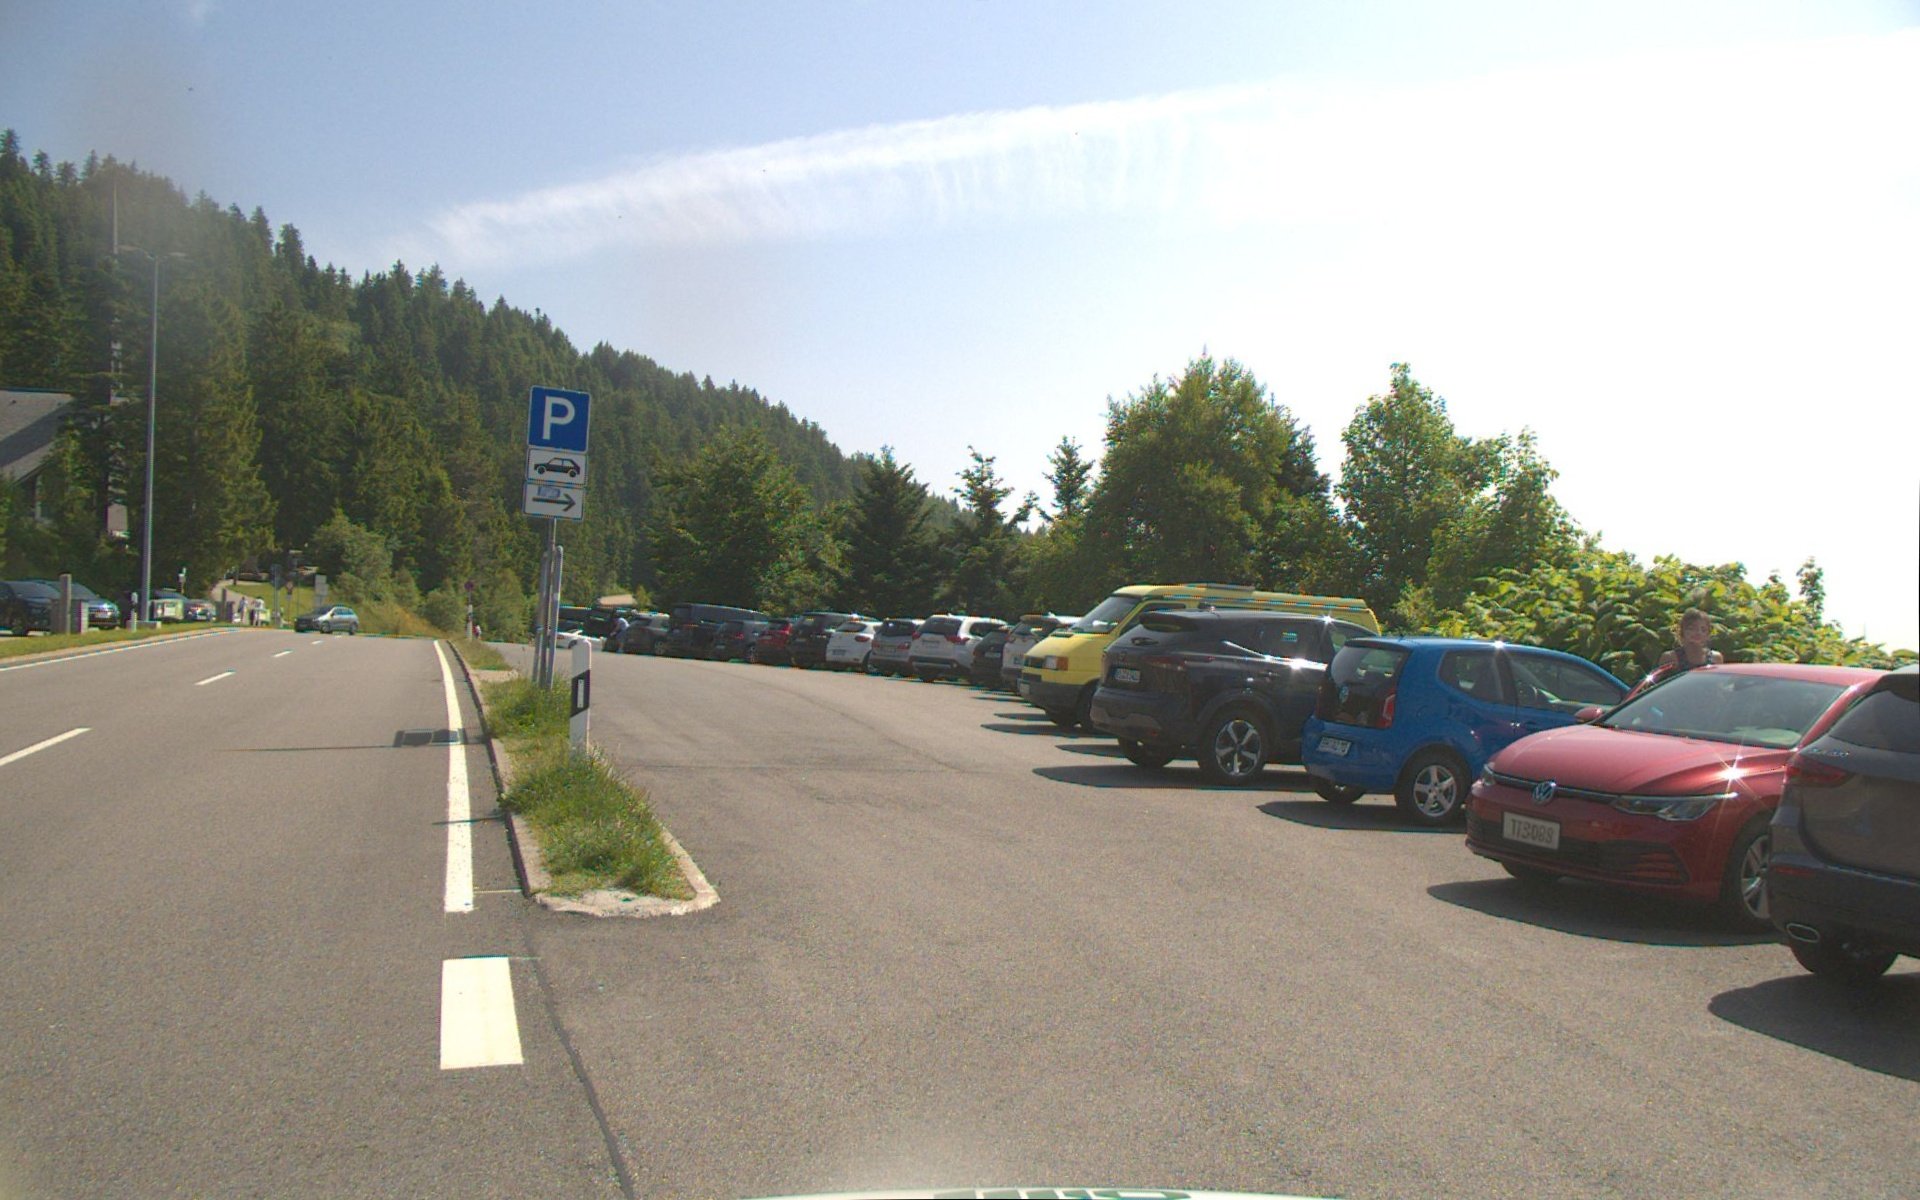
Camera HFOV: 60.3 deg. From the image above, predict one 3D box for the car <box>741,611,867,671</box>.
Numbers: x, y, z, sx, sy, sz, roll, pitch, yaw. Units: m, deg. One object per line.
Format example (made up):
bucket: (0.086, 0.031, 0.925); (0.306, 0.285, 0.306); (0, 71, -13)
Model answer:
car: (-5.002, 1.339, 53.363); (1.826, 1.617, 3.986); (3, -3, 35)

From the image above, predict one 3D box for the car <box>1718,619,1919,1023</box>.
car: (5.818, 1.064, 7.709); (4.347, 1.595, 1.890); (5, -1, -29)

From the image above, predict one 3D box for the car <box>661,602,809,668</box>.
car: (-7.884, 1.231, 58.120); (4.721, 1.912, 1.941); (6, -3, -37)

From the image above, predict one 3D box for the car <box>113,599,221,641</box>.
car: (-33.968, 0.869, 70.852); (4.111, 1.663, 1.789); (1, -2, 22)

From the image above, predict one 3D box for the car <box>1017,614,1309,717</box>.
car: (3.239, 1.040, 26.442); (4.287, 1.513, 1.801); (1, 0, -21)

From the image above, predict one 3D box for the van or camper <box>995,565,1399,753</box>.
van or camper: (3.197, 0.796, 22.525); (5.006, 2.048, 1.875); (5, -1, -15)

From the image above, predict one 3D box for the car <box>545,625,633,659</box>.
car: (-20.467, 2.327, 91.269); (4.415, 1.321, 1.564); (9, -4, -34)

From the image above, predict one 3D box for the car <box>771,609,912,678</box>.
car: (-3.542, 1.345, 50.212); (1.951, 1.724, 4.258); (3, -3, 35)

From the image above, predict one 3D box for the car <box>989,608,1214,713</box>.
car: (2.789, 1.193, 32.184); (4.141, 1.678, 1.867); (6, -3, -38)

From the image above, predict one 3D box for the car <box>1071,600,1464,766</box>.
car: (3.516, 0.945, 19.114); (4.081, 1.617, 1.698); (4, -1, -15)

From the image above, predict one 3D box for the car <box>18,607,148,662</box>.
car: (-28.148, 1.093, 53.089); (3.969, 1.595, 1.737); (2, -1, 28)

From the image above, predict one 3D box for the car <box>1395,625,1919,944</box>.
car: (4.824, 1.082, 10.094); (3.940, 1.536, 1.826); (5, -1, -27)

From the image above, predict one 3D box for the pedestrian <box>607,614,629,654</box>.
pedestrian: (-12.766, 1.266, 61.811); (0.760, 1.427, 0.667); (1, 0, -12)

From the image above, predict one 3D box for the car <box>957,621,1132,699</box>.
car: (2.026, 1.420, 38.723); (1.863, 1.486, 4.024); (2, -3, 44)

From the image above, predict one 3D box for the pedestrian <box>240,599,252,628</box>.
pedestrian: (-42.796, 0.829, 99.125); (0.644, 1.696, 0.638); (2, -3, -24)

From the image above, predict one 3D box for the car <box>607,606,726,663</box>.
car: (-11.256, 1.325, 63.626); (1.967, 1.691, 3.971); (2, -6, 45)

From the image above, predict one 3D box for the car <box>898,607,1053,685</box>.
car: (0.456, 1.202, 42.167); (1.826, 1.724, 4.212); (3, -2, 35)

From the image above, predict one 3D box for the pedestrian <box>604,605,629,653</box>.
pedestrian: (-13.258, 1.116, 63.840); (0.566, 1.791, 0.633); (4, -3, 10)

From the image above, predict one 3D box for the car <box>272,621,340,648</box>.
car: (-36.971, 1.929, 93.592); (1.549, 1.454, 3.368); (1, 0, 26)

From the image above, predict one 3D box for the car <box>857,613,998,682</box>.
car: (-0.847, 1.328, 45.397); (1.784, 1.576, 3.986); (3, -3, 35)

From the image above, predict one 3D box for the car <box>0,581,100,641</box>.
car: (-26.014, 0.285, 46.265); (3.917, 1.579, 1.778); (2, 0, 34)

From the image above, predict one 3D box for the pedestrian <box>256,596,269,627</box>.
pedestrian: (-41.981, 0.677, 99.603); (0.644, 1.830, 0.638); (3, 0, -24)

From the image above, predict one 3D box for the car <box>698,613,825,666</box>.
car: (-6.640, 1.337, 55.664); (1.716, 1.439, 3.971); (2, -3, 45)

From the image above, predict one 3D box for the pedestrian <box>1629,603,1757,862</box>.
pedestrian: (5.156, 0.924, 11.642); (0.498, 1.754, 0.561); (5, -2, -30)

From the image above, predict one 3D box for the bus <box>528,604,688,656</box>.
bus: (-29.455, 2.512, 138.769); (12.600, 3.640, 2.981); (3, 0, -1)

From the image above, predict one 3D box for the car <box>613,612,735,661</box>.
car: (-10.516, 1.360, 60.930); (3.960, 1.468, 1.814); (6, -3, -39)

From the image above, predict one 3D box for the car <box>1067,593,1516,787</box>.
car: (3.268, 0.884, 16.380); (3.933, 1.641, 1.903); (4, -1, -23)

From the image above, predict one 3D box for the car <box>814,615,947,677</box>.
car: (-2.259, 1.364, 48.190); (1.732, 1.502, 3.986); (3, -3, 35)

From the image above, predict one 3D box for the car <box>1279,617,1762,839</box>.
car: (4.716, 1.065, 14.025); (3.524, 1.521, 1.640); (5, -1, -17)
